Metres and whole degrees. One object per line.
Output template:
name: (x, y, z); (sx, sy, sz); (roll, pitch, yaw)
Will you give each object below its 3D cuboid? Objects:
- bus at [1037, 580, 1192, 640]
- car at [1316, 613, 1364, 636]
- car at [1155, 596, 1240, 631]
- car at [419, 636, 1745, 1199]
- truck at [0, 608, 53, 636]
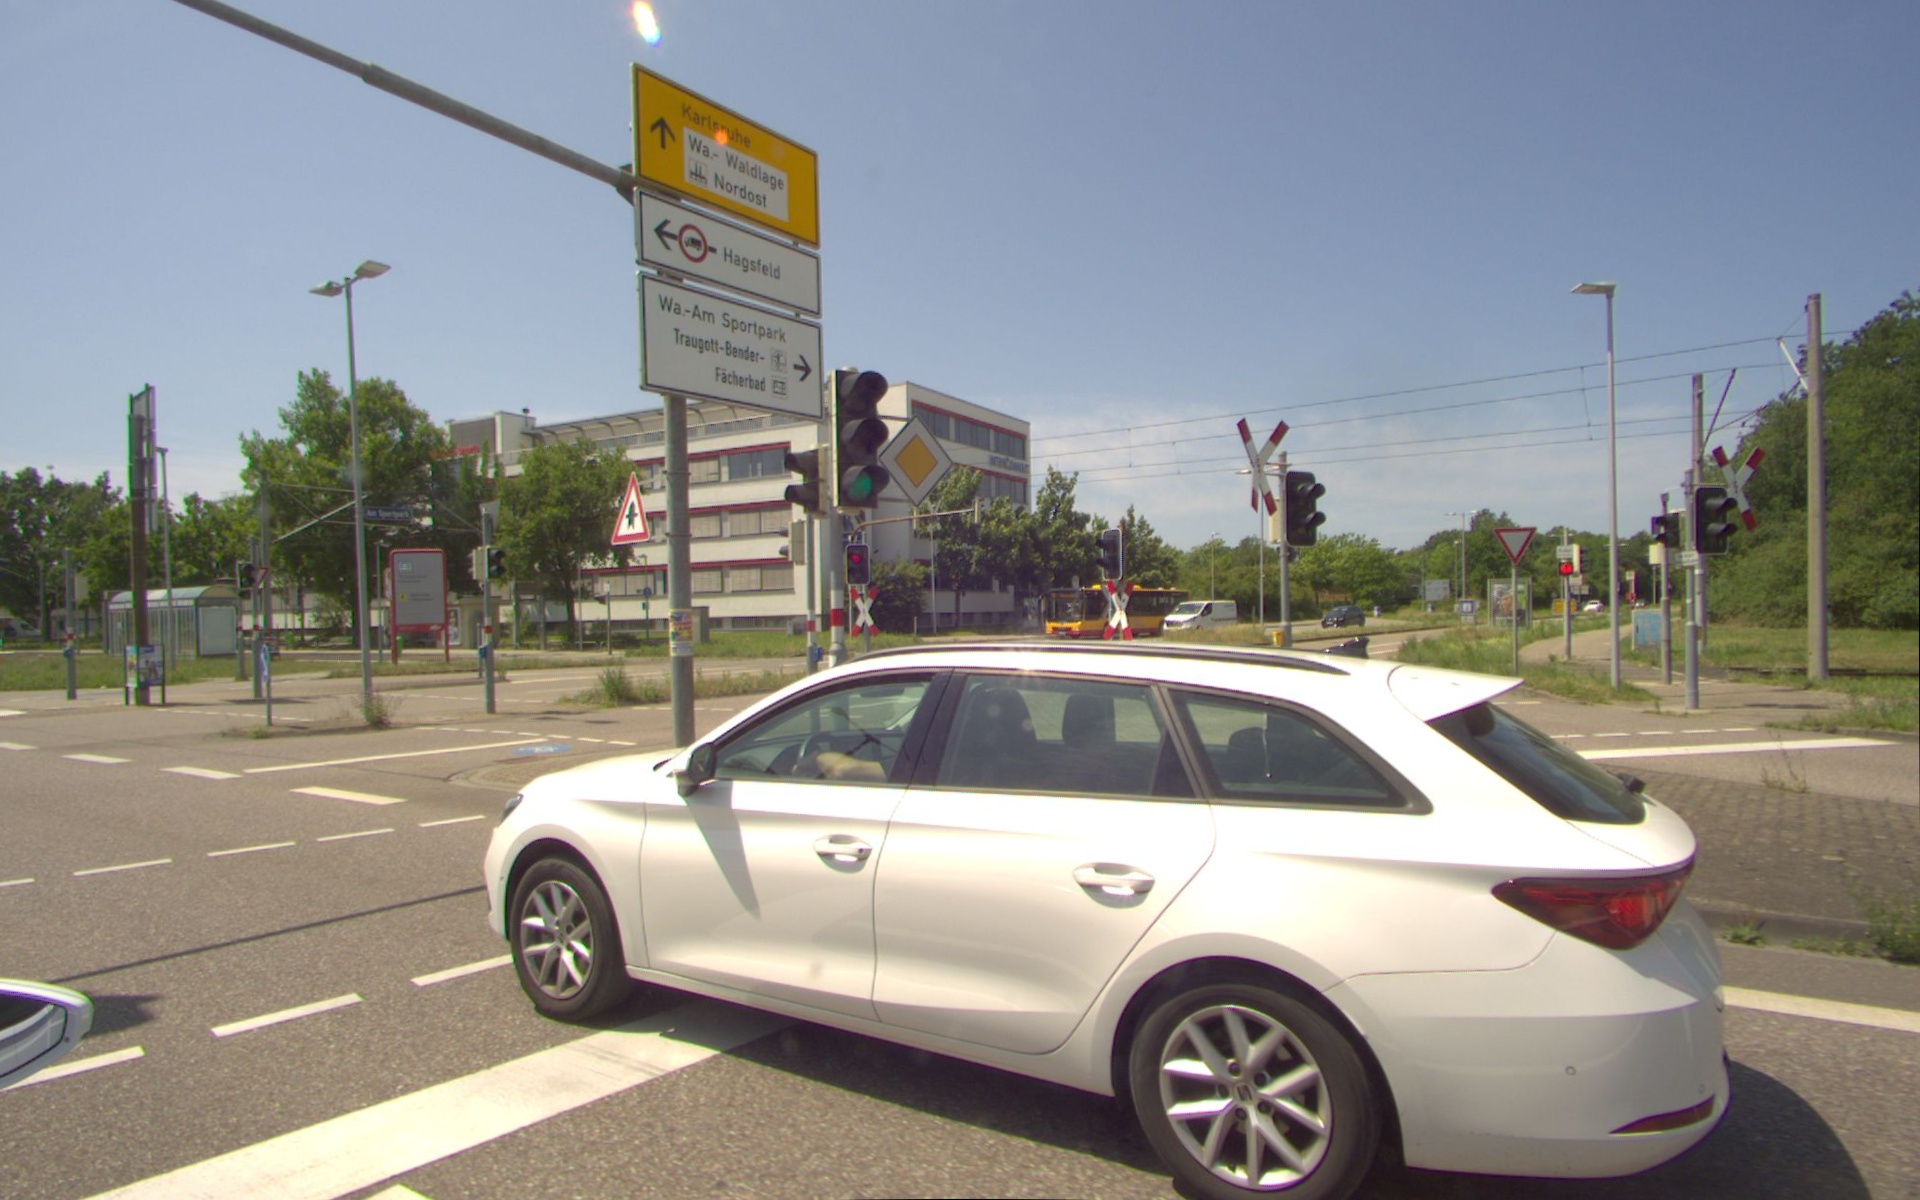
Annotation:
bus: (9.323, 0.615, 58.680); (2.809, 3.159, 11.977); (-2, -2, 42)
car: (27.644, 1.779, 72.792); (3.958, 1.600, 1.659); (0, -1, -42)
car: (12.530, 0.757, 52.680); (5.021, 1.750, 1.812); (1, -3, -42)
car: (0.050, 0.858, 3.791); (4.385, 1.408, 1.680); (-1, -1, 30)
truck: (-103.567, 2.382, 109.555); (2.283, 2.881, 5.837); (-2, 1, 26)
